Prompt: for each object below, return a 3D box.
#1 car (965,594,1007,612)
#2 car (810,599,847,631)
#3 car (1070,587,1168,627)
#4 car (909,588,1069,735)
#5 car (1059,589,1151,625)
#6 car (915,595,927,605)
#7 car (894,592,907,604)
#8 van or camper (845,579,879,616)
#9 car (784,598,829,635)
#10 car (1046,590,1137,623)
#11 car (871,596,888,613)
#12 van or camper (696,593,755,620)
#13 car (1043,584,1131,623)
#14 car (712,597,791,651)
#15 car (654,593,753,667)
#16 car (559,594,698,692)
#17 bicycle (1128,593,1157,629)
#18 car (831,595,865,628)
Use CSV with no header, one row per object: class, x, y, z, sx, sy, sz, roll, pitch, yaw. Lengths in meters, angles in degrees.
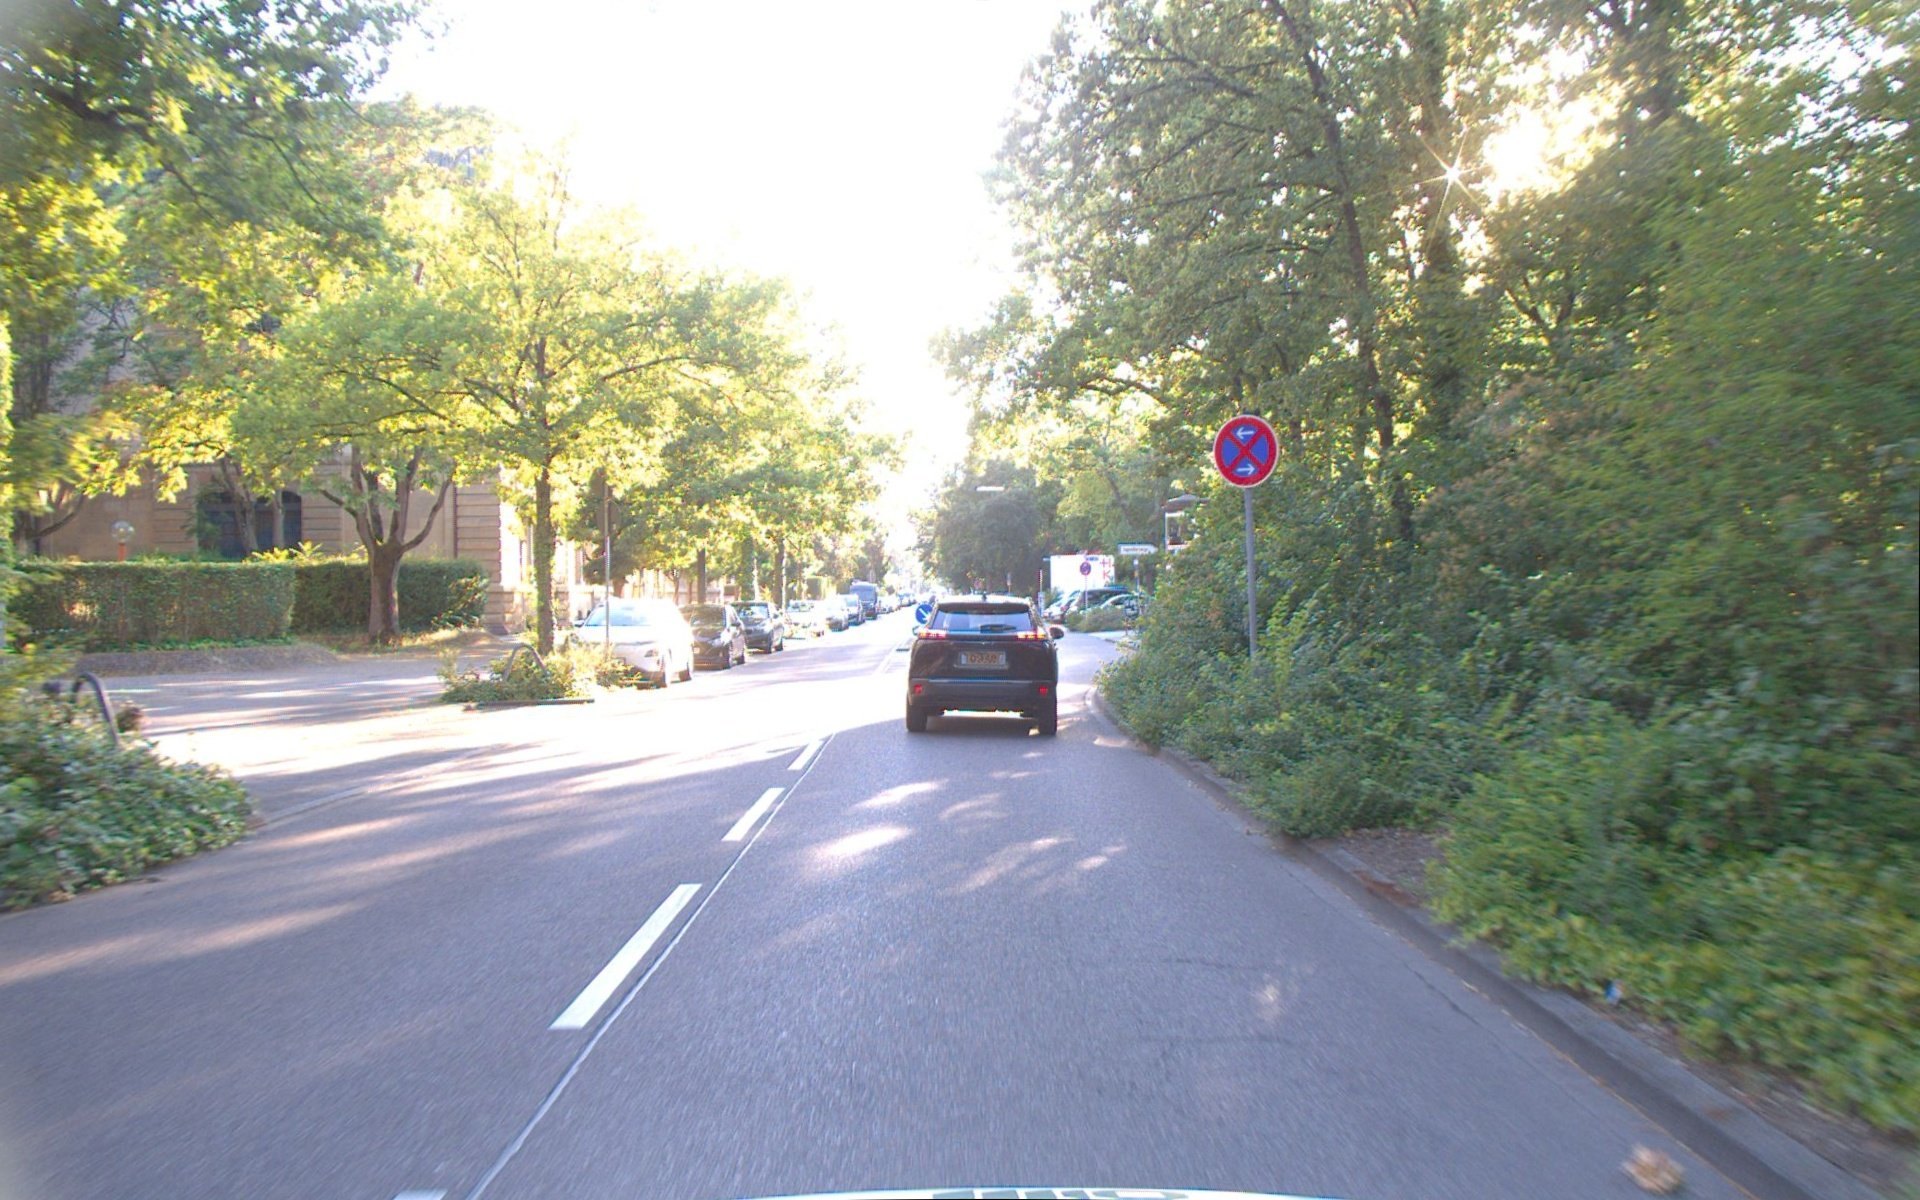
car,2.527,0.296,161.037,3.906,1.581,1.725,-3,0,-1
car,-6.581,0.722,82.962,1.585,1.522,4.376,0,0,-1
car,7.372,0.319,76.835,4.275,1.581,1.727,-3,0,-2
car,0.292,0.658,20.106,1.735,1.596,4.108,0,0,-1
car,7.146,0.336,81.894,4.275,1.581,1.875,-3,0,-2
car,-5.816,0.002,247.107,1.706,1.483,4.622,-1,0,-2
car,-8.765,-0.292,243.207,1.861,1.601,3.999,0,0,-1
van or camper,-7.087,-0.165,120.298,2.184,2.589,7.077,1,0,-1
car,-6.485,0.692,70.140,1.585,1.522,3.923,0,0,-1
car,7.302,0.377,92.393,4.827,1.581,1.915,-3,0,-2
car,-7.565,0.409,155.460,1.581,1.541,3.710,-3,0,-3
van or camper,-20.101,0.543,142.050,4.670,2.020,2.001,-1,4,1
car,7.253,0.190,94.711,4.755,1.949,1.915,-3,0,-2
car,-6.207,0.690,49.697,1.765,1.537,4.862,0,0,0
car,-5.974,0.679,38.882,1.744,1.644,4.146,0,0,-1
car,-6.014,0.738,30.412,1.766,1.644,4.146,-1,0,-1
bicycle,6.461,0.375,58.468,0.482,1.168,2.286,-4,1,19
car,-6.804,0.668,100.659,1.741,1.898,4.332,2,0,-1
